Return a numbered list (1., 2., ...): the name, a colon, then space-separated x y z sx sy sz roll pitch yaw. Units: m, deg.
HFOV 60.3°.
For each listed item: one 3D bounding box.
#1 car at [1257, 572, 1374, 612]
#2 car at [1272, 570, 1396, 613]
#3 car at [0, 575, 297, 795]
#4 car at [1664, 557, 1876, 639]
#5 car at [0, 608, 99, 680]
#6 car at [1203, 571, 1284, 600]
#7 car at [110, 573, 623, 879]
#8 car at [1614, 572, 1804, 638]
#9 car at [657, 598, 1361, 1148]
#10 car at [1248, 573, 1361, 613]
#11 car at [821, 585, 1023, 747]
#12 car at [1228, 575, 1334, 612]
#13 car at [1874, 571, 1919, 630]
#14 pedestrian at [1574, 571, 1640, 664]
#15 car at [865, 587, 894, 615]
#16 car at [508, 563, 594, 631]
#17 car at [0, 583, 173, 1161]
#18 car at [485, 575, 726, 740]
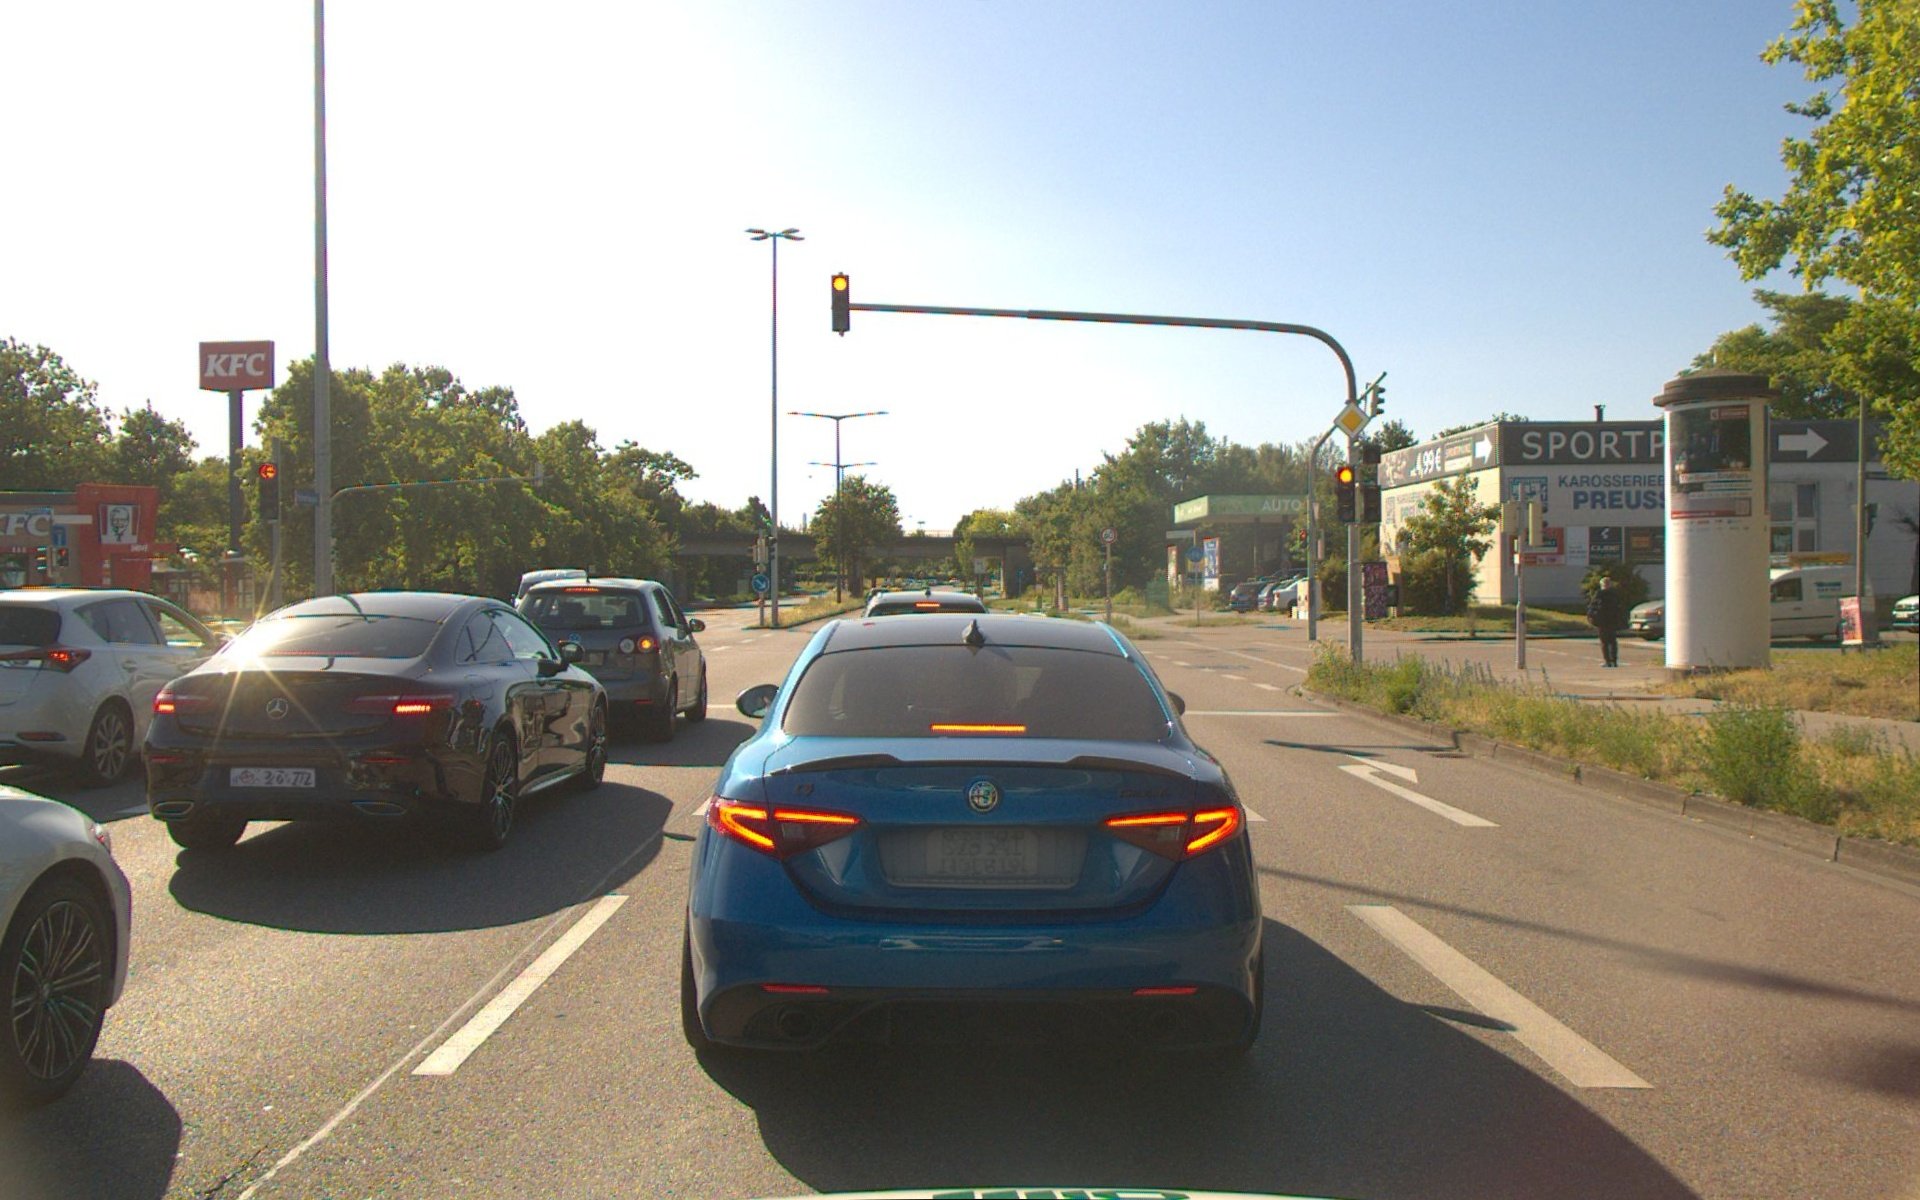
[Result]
1. car: 14.491 -0.323 67.583 4.397 1.479 1.858 -2 0 1
2. car: 14.615 -0.323 64.806 4.397 1.479 1.858 -2 0 1
3. car: -7.100 0.589 13.552 1.723 1.516 4.195 1 0 -2
4. car: 19.551 -0.067 40.006 4.293 1.833 1.764 -1 2 -2
5. car: -21.718 1.017 36.649 4.320 1.516 1.765 -2 0 1
6. car: 16.731 -0.854 97.593 4.457 1.516 1.765 -2 0 1
7. car: -3.436 0.644 10.564 1.760 1.516 4.474 1 0 -2
8. car: 19.601 0.111 43.386 4.201 1.576 1.764 -1 2 -2
9. car: 0.071 0.740 6.605 1.857 1.443 4.401 1 0 -2
10. car: 14.635 -0.300 70.338 4.397 1.479 1.858 -2 0 1
11. car: -0.410 0.609 17.233 1.813 1.443 4.401 1 0 -2
12. car: 14.407 -0.292 74.385 4.397 1.479 1.858 -2 0 1
13. car: 26.584 -0.052 43.652 3.960 1.516 1.782 -2 0 -3
14. pedestrian: 12.580 0.330 32.184 0.906 1.765 0.938 1 -1 -1
15. car: -5.461 0.104 112.726 1.853 1.847 3.999 1 0 -1
16. car: -16.345 -0.115 66.424 1.981 2.489 5.820 -3 0 -1
17. car: -3.341 0.694 3.060 1.749 1.516 4.401 1 0 -2
18. car: -3.620 0.547 17.662 1.723 1.516 4.401 1 0 -2
